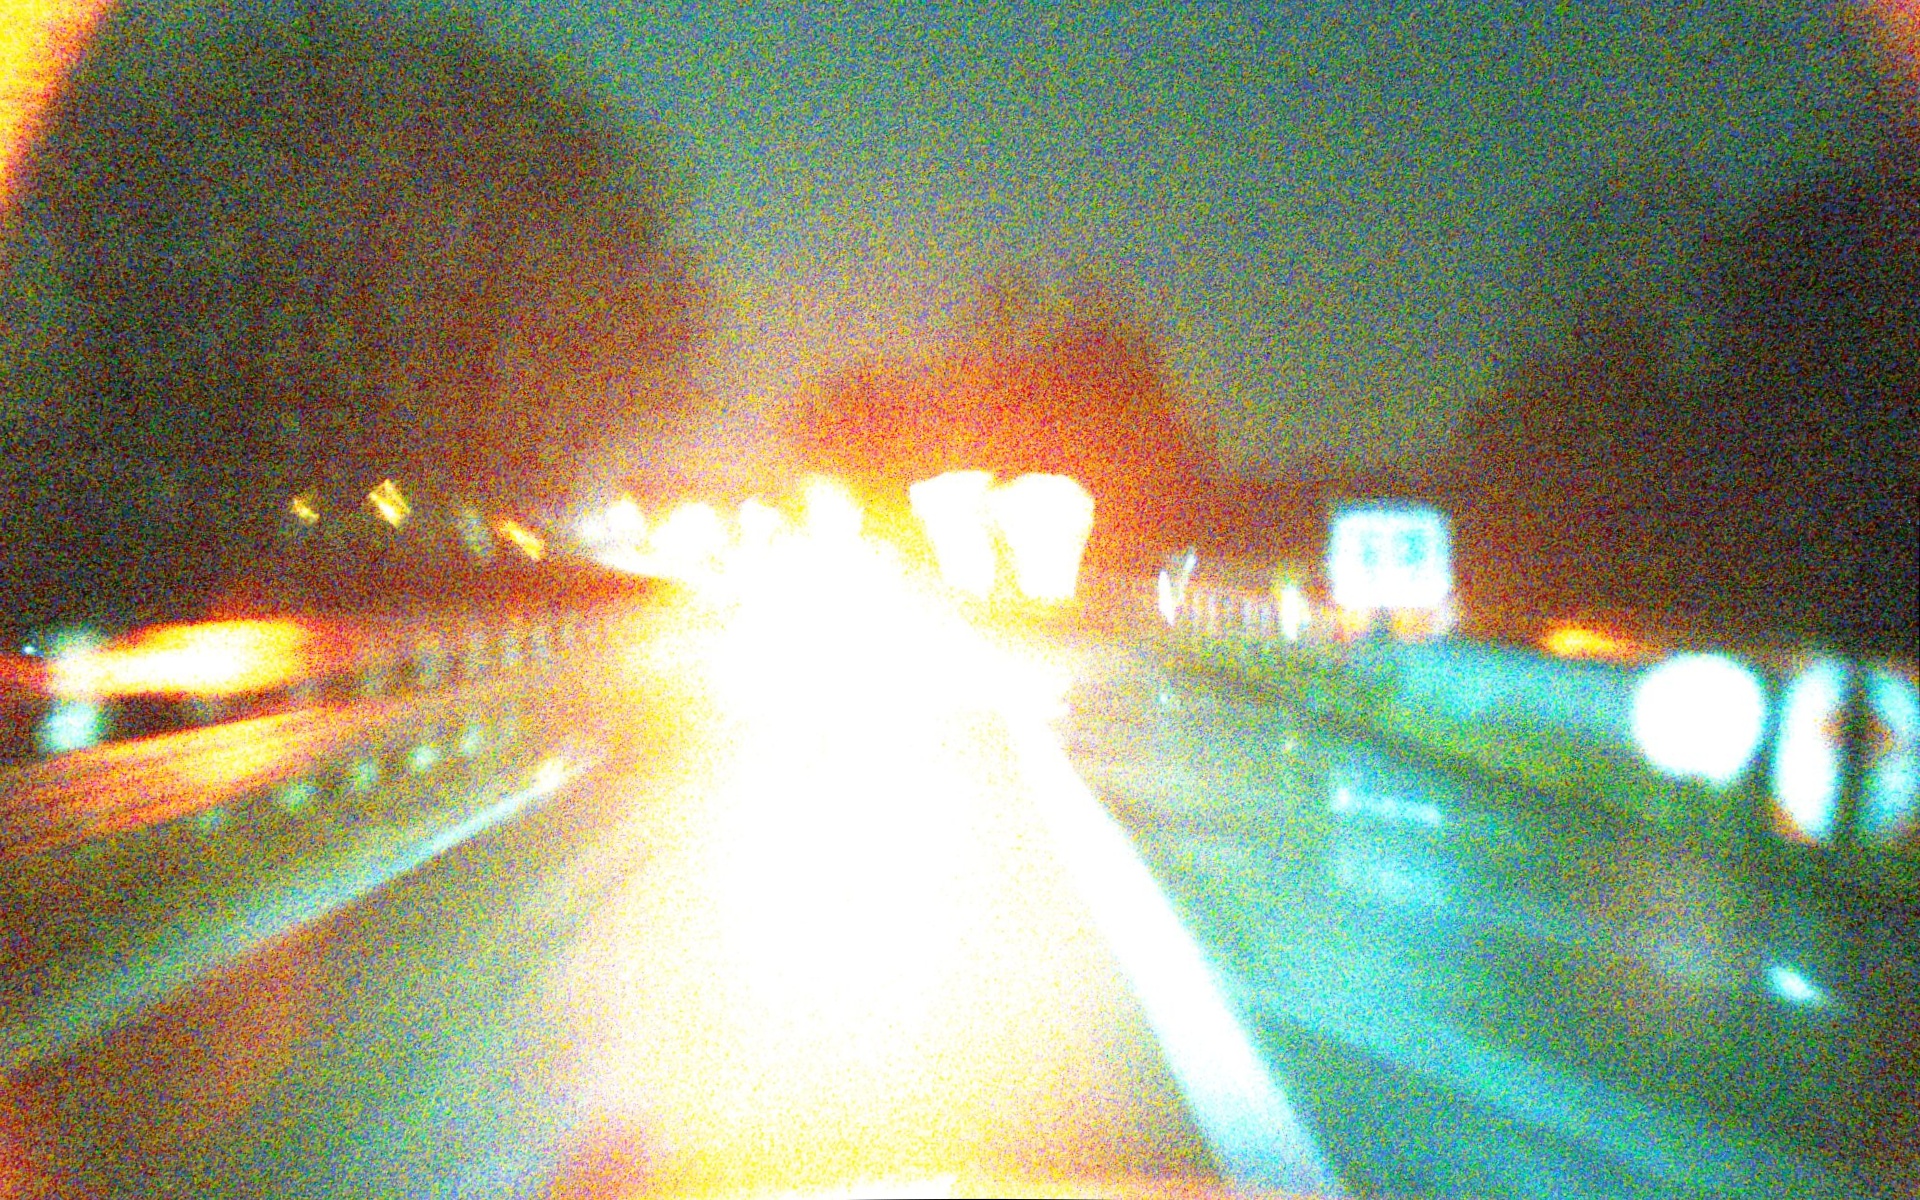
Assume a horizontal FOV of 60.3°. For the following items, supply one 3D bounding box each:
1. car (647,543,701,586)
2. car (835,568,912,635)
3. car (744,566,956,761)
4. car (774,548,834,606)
[{"bbox_3d":[-13.876,-1.714,80.097,1.868,2.032,4.020,1,1,-21],"label":"car"},{"bbox_3d":[-2.410,0.027,45.127,1.859,1.750,4.040,0,0,-6],"label":"car"},{"bbox_3d":[-1.074,0.529,16.293,1.824,1.676,4.066,0,0,-4],"label":"car"},{"bbox_3d":[-5.890,-0.872,62.057,1.861,2.076,4.035,1,1,-11],"label":"car"}]
